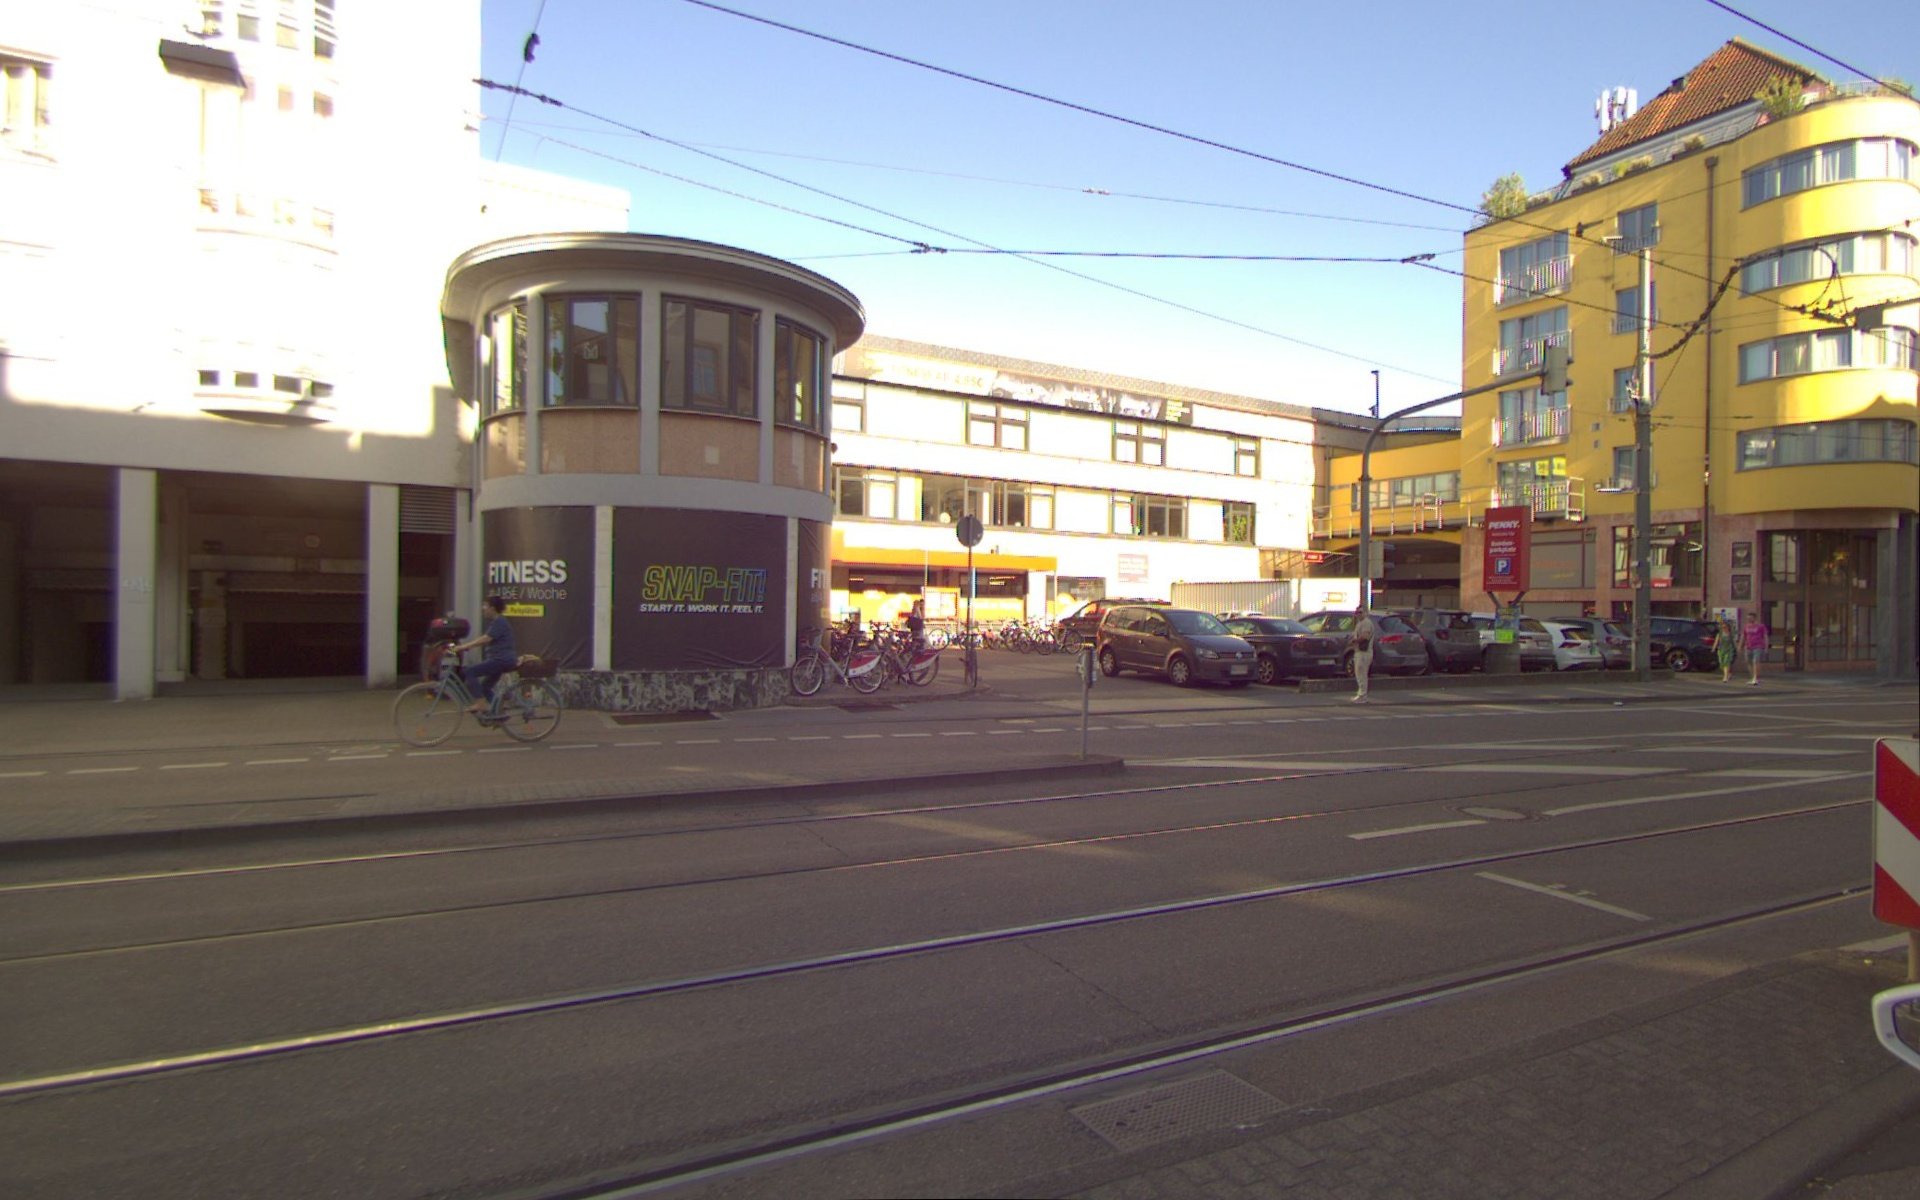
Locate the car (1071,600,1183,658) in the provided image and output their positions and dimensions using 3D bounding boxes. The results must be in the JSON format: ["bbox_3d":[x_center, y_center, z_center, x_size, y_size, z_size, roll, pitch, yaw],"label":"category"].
[{"bbox_3d":[5.396,0.896,32.731,1.677,1.772,3.559,1,-1,-32],"label":"car"}]

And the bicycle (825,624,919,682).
[{"bbox_3d":[-1.697,1.008,19.549,1.862,1.091,0.460,1,-1,-38],"label":"bicycle"}]

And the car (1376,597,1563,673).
[{"bbox_3d":[13.543,0.947,26.956,1.764,1.835,4.214,3,-3,-29],"label":"car"}]

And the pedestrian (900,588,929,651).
[{"bbox_3d":[-1.257,0.538,27.740,0.647,1.718,0.478,1,0,-32],"label":"pedestrian"}]

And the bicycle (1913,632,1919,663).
[{"bbox_3d":[39.474,1.935,40.675,2.053,1.219,0.579,1,-1,-26],"label":"bicycle"}]

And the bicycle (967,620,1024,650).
[{"bbox_3d":[1.240,1.205,34.857,2.040,1.028,0.501,1,-1,-33],"label":"bicycle"}]

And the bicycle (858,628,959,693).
[{"bbox_3d":[-0.897,1.057,17.906,1.862,1.094,0.460,1,-1,-38],"label":"bicycle"}]

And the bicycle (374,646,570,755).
[{"bbox_3d":[-5.563,1.123,11.554,1.976,1.138,0.562,1,0,-25],"label":"bicycle"}]

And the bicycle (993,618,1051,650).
[{"bbox_3d":[2.066,1.130,33.256,2.040,1.028,0.501,1,-1,-33],"label":"bicycle"}]

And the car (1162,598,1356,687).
[{"bbox_3d":[6.700,0.901,22.927,1.764,1.836,4.214,1,-1,-29],"label":"car"}]

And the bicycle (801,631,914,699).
[{"bbox_3d":[-1.670,1.052,16.574,1.862,1.050,0.520,1,-1,-38],"label":"bicycle"}]

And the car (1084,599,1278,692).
[{"bbox_3d":[4.674,0.902,21.880,1.764,1.787,4.214,1,0,-29],"label":"car"}]

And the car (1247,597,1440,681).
[{"bbox_3d":[9.118,0.881,24.222,1.764,1.836,4.214,1,-1,-29],"label":"car"}]

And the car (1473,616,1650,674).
[{"bbox_3d":[17.695,1.312,29.756,1.764,1.568,4.214,3,-3,-29],"label":"car"}]

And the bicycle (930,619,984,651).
[{"bbox_3d":[-0.083,1.149,32.979,1.802,1.028,0.366,1,-1,-27],"label":"bicycle"}]

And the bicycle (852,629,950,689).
[{"bbox_3d":[-1.062,1.064,18.430,1.862,1.050,0.460,1,-1,-38],"label":"bicycle"}]

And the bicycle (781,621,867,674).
[{"bbox_3d":[-2.922,1.005,21.655,1.863,1.091,0.459,1,0,-39],"label":"bicycle"}]

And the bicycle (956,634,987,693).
[{"bbox_3d":[0.200,1.195,19.388,0.417,1.050,1.878,0,-1,-5],"label":"bicycle"}]

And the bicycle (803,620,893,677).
[{"bbox_3d":[-2.246,0.964,20.345,1.863,1.091,0.459,1,0,-39],"label":"bicycle"}]

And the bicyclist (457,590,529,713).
[{"bbox_3d":[-5.398,0.589,11.632,0.709,1.379,0.561,1,-1,-24],"label":"bicyclist"}]

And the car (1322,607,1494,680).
[{"bbox_3d":[11.277,1.043,25.491,1.764,1.695,3.673,1,-1,-29],"label":"car"}]

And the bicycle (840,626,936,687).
[{"bbox_3d":[-1.340,1.042,18.872,1.862,1.102,0.460,1,-1,-38],"label":"bicycle"}]

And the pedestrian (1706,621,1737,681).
[{"bbox_3d":[21.416,1.426,28.245,0.493,1.639,0.569,1,-1,-31],"label":"pedestrian"}]

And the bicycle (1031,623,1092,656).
[{"bbox_3d":[3.192,1.239,31.596,2.040,1.028,0.506,1,-1,-33],"label":"bicycle"}]

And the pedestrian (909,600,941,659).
[{"bbox_3d":[-1.012,0.846,29.040,0.683,1.656,0.635,1,-1,-31],"label":"pedestrian"}]

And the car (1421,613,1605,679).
[{"bbox_3d":[15.353,1.224,28.109,1.764,1.631,4.214,1,0,-29],"label":"car"}]

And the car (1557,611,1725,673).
[{"bbox_3d":[22.095,1.316,32.746,1.764,1.836,4.214,1,-1,-29],"label":"car"}]

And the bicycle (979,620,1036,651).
[{"bbox_3d":[1.639,1.211,34.207,2.040,1.028,0.492,1,-1,-33],"label":"bicycle"}]

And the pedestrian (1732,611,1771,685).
[{"bbox_3d":[21.675,1.300,27.508,0.701,1.972,0.634,1,-1,-31],"label":"pedestrian"}]

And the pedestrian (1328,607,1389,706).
[{"bbox_3d":[7.522,1.043,18.957,0.773,1.788,0.708,1,2,-37],"label":"pedestrian"}]

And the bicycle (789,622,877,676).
[{"bbox_3d":[-2.655,1.019,21.117,1.863,1.091,0.459,1,0,-39],"label":"bicycle"}]

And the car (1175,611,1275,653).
[{"bbox_3d":[10.094,1.181,38.507,1.677,1.499,3.559,1,-1,-32],"label":"car"}]

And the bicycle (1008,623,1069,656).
[{"bbox_3d":[2.517,1.269,32.165,2.040,1.028,0.510,1,-1,-33],"label":"bicycle"}]

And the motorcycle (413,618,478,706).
[{"bbox_3d":[-8.288,0.956,16.142,0.668,1.280,1.969,1,0,-35],"label":"motorcycle"}]
